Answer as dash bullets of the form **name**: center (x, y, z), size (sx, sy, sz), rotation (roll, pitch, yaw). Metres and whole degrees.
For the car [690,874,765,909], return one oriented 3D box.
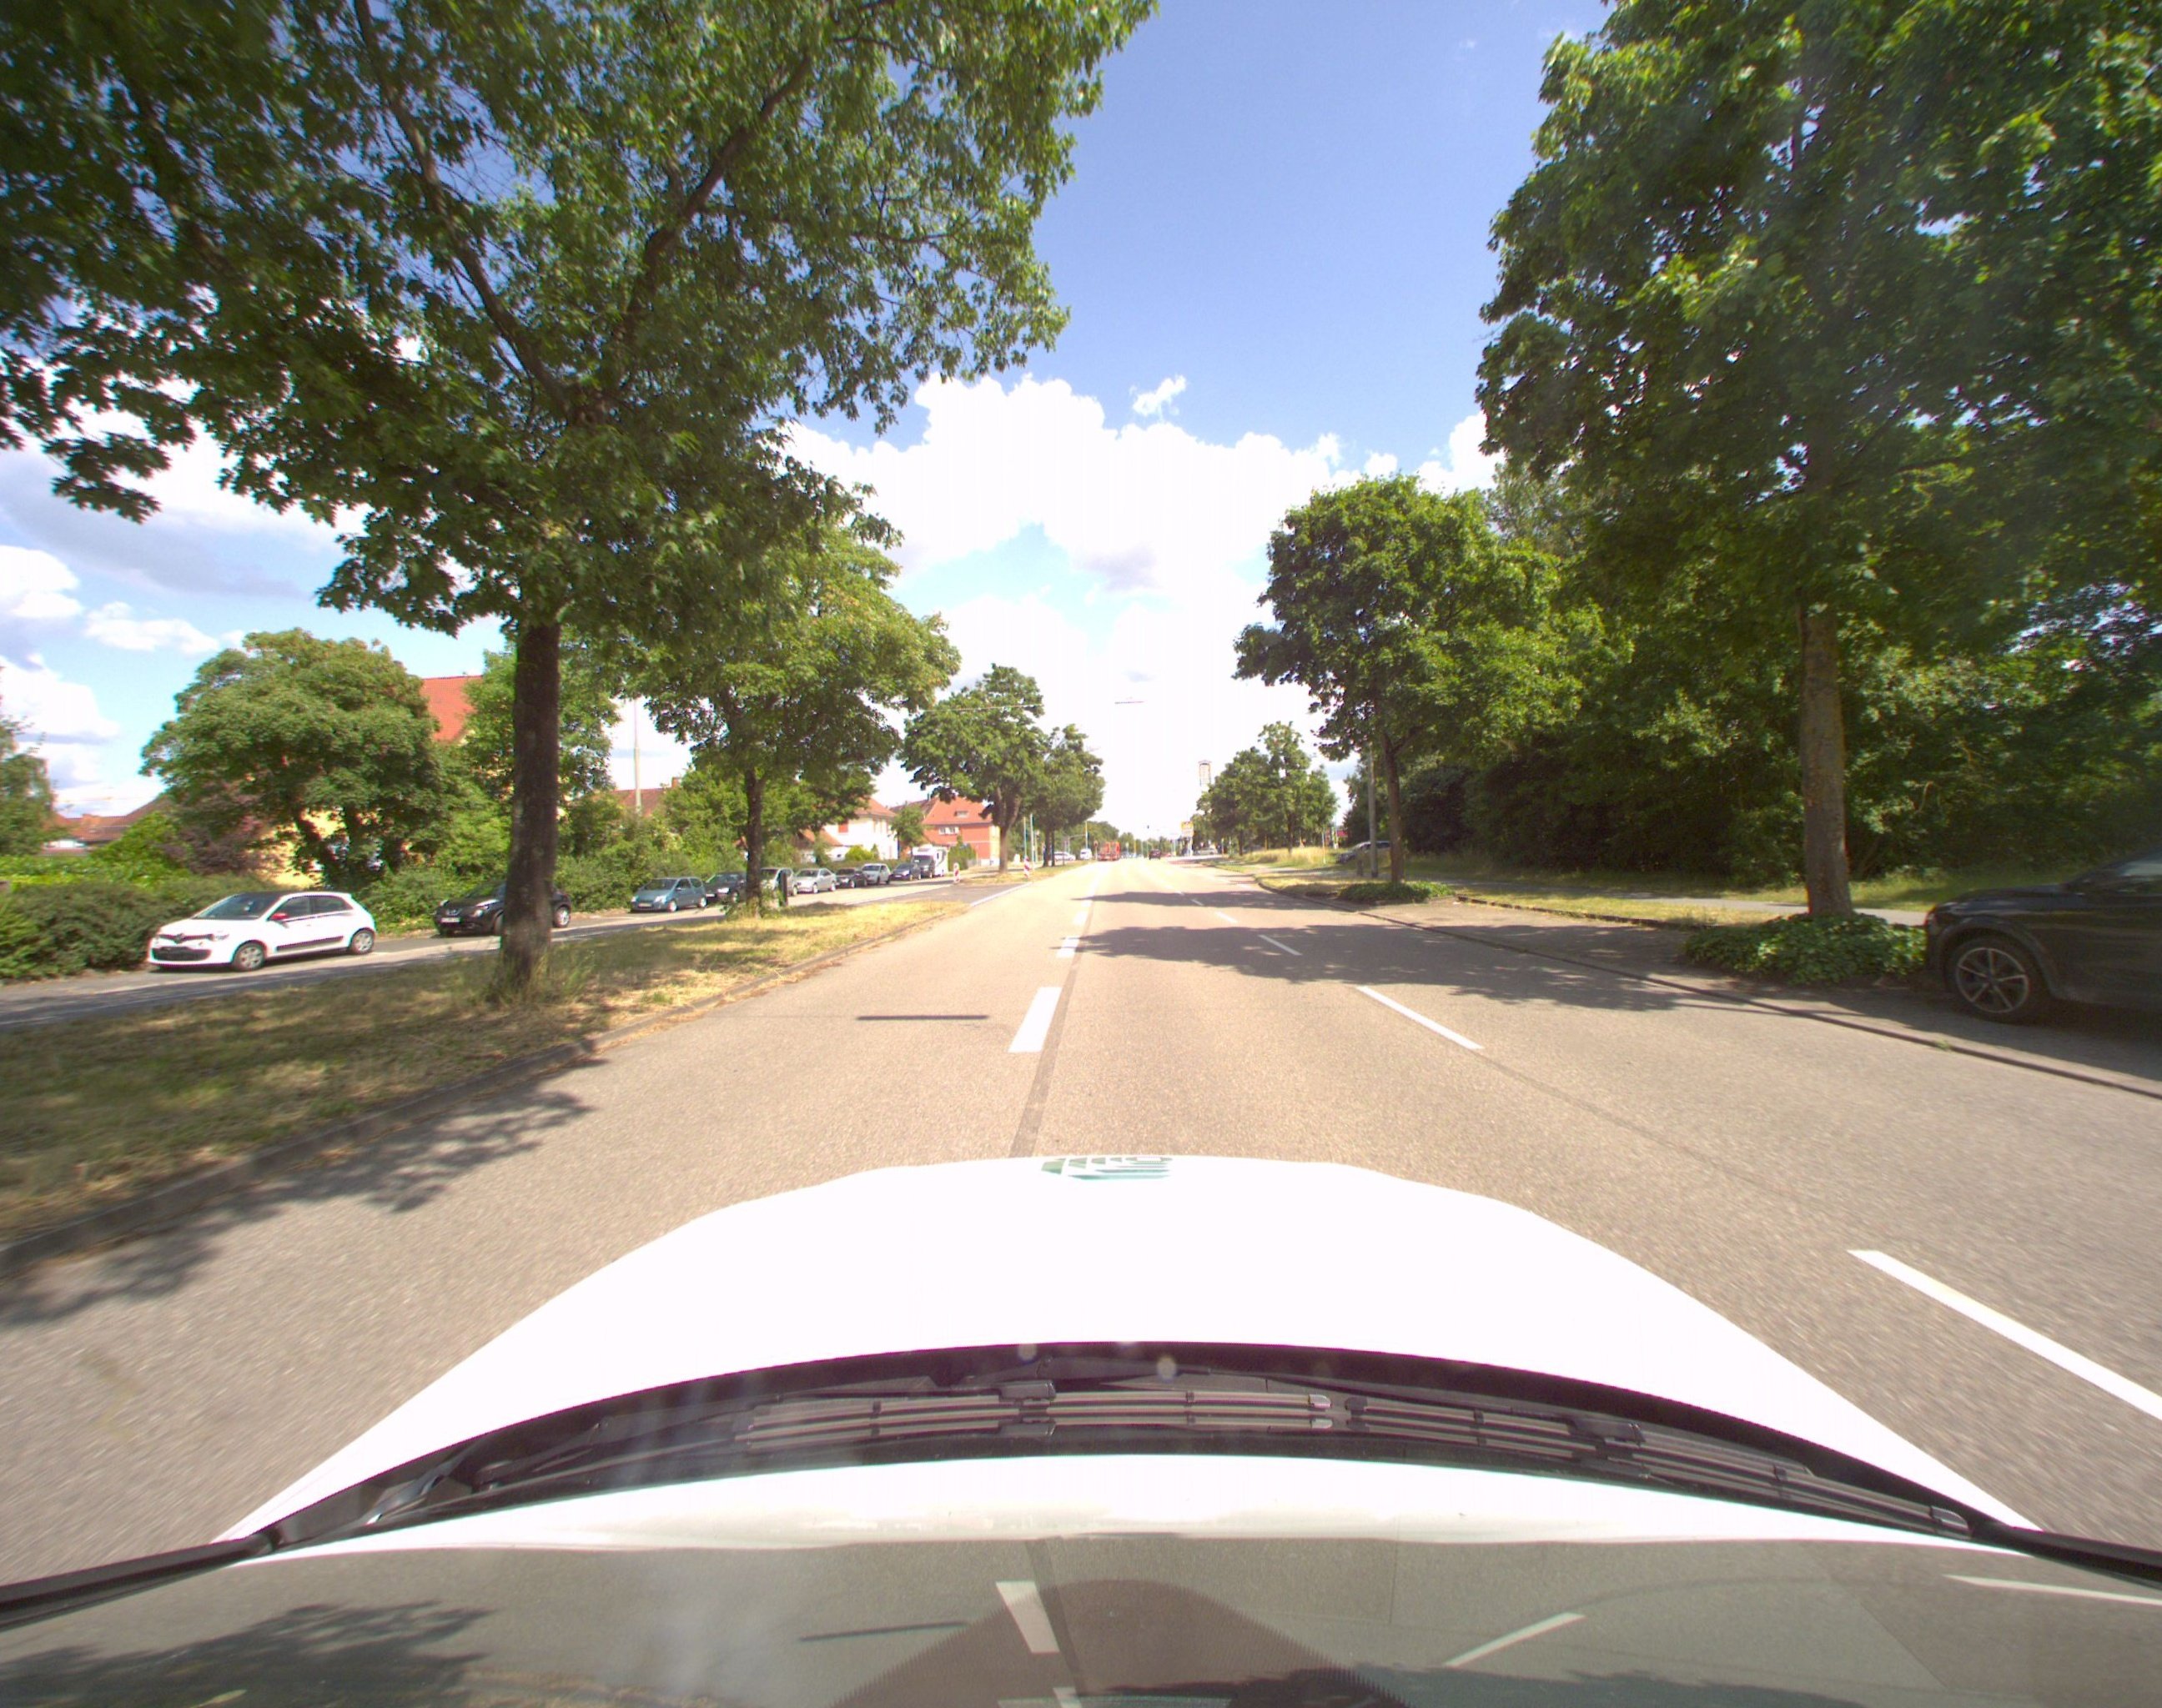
- **car**: center (-16.389, 1.700, 37.962), size (1.397, 1.395, 4.360), rotation (0, 0, 3)

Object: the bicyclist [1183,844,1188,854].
- **bicyclist**: center (18.072, -0.819, 141.217), size (0.642, 1.661, 0.653), rotation (-1, -1, 20)

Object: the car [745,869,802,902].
- **car**: center (-16.159, 1.623, 42.949), size (1.397, 1.557, 3.745), rotation (0, 0, 3)

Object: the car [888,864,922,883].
- **car**: center (-14.592, 1.574, 67.635), size (1.629, 1.485, 3.997), rotation (0, -1, 4)

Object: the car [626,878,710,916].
- **car**: center (-16.831, 1.730, 33.352), size (1.556, 1.395, 3.479), rotation (0, -1, 3)

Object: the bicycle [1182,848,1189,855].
- **bicycle**: center (18.142, -0.406, 141.396), size (0.642, 1.107, 1.938), rotation (-1, -1, 20)

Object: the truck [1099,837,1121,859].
- **truck**: center (4.688, -0.884, 129.414), size (3.056, 3.414, 11.081), rotation (0, 0, 4)

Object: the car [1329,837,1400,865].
- **car**: center (19.310, -0.242, 55.517), size (4.153, 1.493, 1.783), rotation (-5, 2, -3)

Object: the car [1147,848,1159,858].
- **car**: center (11.481, -0.142, 129.527), size (1.791, 1.552, 4.005), rotation (0, -1, 4)

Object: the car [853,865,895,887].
- **car**: center (-15.159, 1.598, 59.845), size (1.681, 1.485, 4.129), rotation (0, -1, 4)

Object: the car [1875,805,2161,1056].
- **car**: center (8.065, 0.479, 5.309), size (1.584, 1.691, 4.365), rotation (-3, -1, 3)

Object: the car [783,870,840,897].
- **car**: center (-15.710, 1.697, 47.656), size (1.504, 1.370, 4.537), rotation (0, 0, 4)

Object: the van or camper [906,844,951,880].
- **van or camper**: center (-14.065, 0.649, 75.681), size (2.248, 3.112, 7.329), rotation (0, 1, 4)

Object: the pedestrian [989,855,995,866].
- **pedestrian**: center (-12.853, 0.998, 118.135), size (0.693, 1.583, 0.852), rotation (0, -1, 4)

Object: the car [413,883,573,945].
- **car**: center (-17.191, 1.697, 24.101), size (1.654, 1.481, 4.105), rotation (0, 0, 2)

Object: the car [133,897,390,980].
- **car**: center (-17.611, 1.748, 17.804), size (1.654, 1.451, 3.848), rotation (0, -1, 2)

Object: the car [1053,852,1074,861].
- **car**: center (-3.407, 0.419, 156.334), size (3.971, 1.651, 1.733), rotation (0, -1, 2)

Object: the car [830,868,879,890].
- **car**: center (-14.958, 1.634, 53.987), size (1.629, 1.306, 4.590), rotation (0, 0, 4)

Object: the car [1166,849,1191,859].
- **car**: center (14.923, 0.021, 124.651), size (3.577, 1.442, 1.469), rotation (0, -1, -14)
